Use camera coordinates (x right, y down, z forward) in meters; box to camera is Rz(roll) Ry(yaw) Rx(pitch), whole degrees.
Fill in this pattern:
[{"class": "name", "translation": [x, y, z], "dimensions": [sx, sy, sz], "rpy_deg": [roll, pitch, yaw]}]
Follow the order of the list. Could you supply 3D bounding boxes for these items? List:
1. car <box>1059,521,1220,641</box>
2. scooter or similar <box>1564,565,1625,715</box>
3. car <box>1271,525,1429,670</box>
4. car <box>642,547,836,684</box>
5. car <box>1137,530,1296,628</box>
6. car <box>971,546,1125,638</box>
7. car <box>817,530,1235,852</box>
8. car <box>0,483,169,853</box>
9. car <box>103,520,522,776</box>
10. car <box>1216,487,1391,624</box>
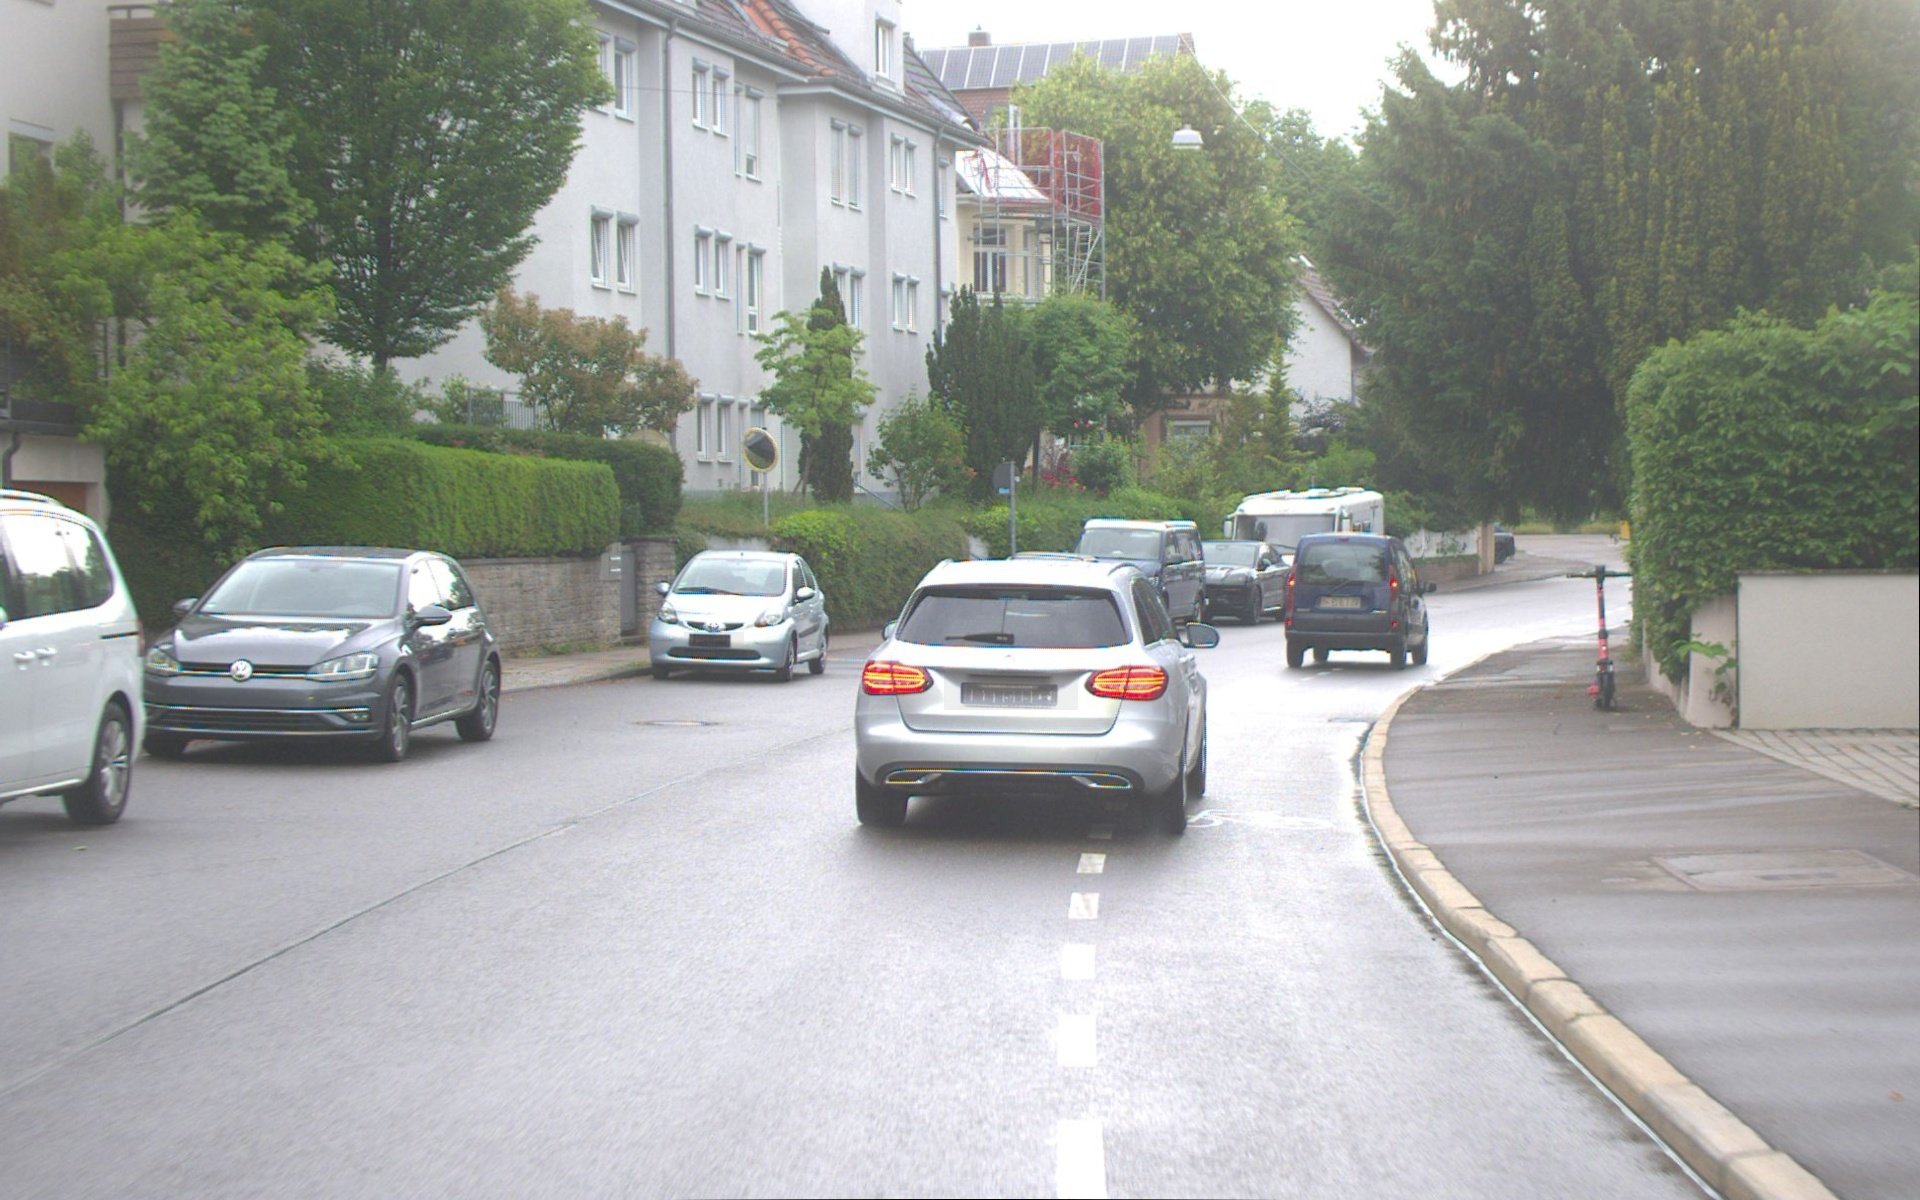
[{"class": "car", "translation": [3.315, -0.360, 62.553], "dimensions": [1.831, 2.049, 5.006], "rpy_deg": [2, 1, 15]}, {"class": "scooter or similar", "translation": [5.657, 0.345, 30.674], "dimensions": [0.450, 1.303, 1.481], "rpy_deg": [-1, 0, 8]}, {"class": "car", "translation": [5.457, -0.057, 47.746], "dimensions": [1.844, 1.897, 3.998], "rpy_deg": [1, 1, 11]}, {"class": "car", "translation": [-2.526, 0.147, 39.940], "dimensions": [1.605, 1.481, 3.486], "rpy_deg": [1, 1, 7]}, {"class": "car", "translation": [5.147, -0.447, 68.322], "dimensions": [1.995, 1.682, 4.673], "rpy_deg": [2, 3, 19]}, {"class": "car", "translation": [1.511, -0.163, 57.163], "dimensions": [1.644, 1.412, 4.610], "rpy_deg": [2, 1, 13]}, {"class": "car", "translation": [0.484, 0.417, 19.416], "dimensions": [1.817, 1.551, 3.999], "rpy_deg": [2, 2, 9]}, {"class": "car", "translation": [-5.404, 0.271, 16.174], "dimensions": [1.994, 1.696, 4.738], "rpy_deg": [3, 2, 3]}, {"class": "car", "translation": [-4.507, 0.268, 24.558], "dimensions": [1.792, 1.575, 4.138], "rpy_deg": [3, 2, 5]}, {"class": "car", "translation": [7.618, -1.041, 75.571], "dimensions": [2.393, 2.762, 6.526], "rpy_deg": [2, 3, 18]}]
